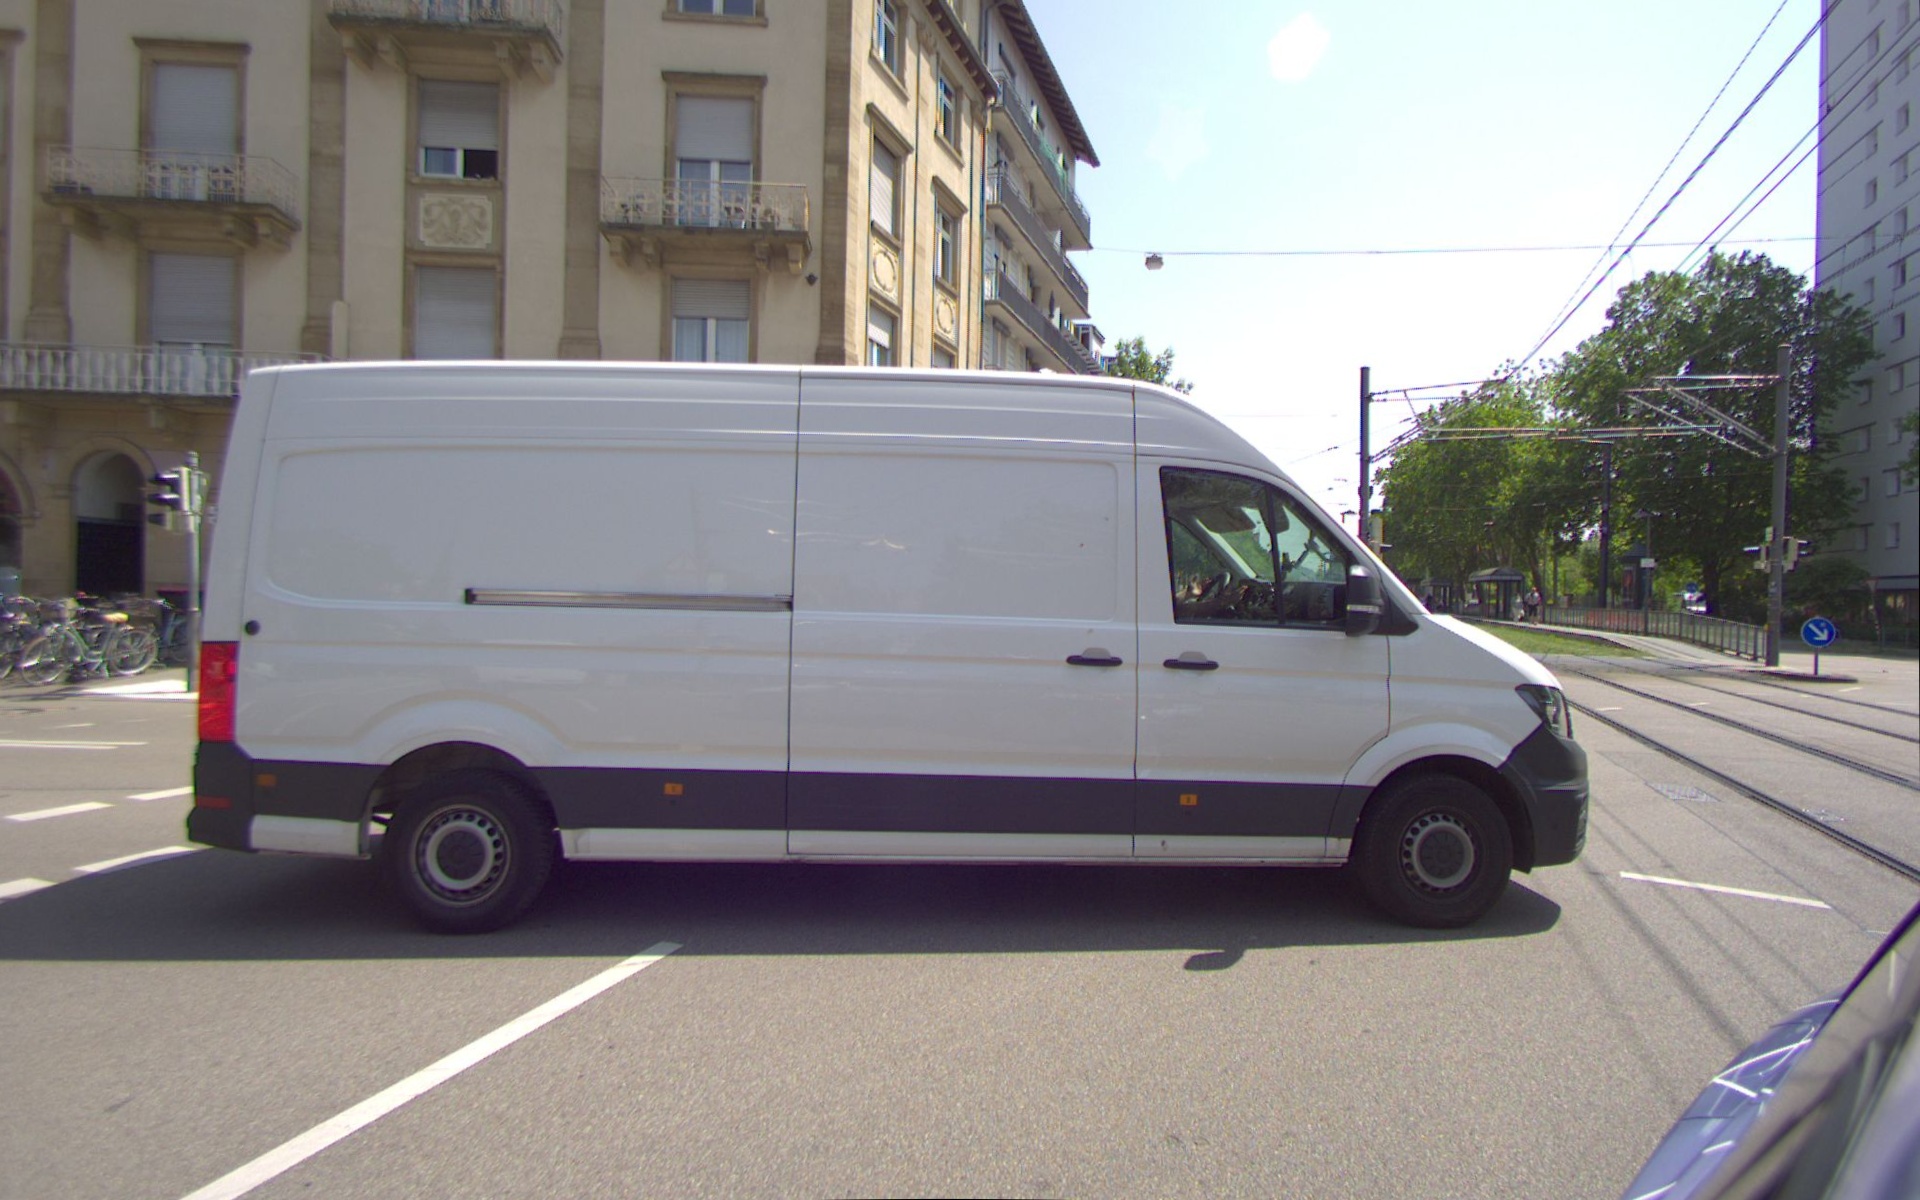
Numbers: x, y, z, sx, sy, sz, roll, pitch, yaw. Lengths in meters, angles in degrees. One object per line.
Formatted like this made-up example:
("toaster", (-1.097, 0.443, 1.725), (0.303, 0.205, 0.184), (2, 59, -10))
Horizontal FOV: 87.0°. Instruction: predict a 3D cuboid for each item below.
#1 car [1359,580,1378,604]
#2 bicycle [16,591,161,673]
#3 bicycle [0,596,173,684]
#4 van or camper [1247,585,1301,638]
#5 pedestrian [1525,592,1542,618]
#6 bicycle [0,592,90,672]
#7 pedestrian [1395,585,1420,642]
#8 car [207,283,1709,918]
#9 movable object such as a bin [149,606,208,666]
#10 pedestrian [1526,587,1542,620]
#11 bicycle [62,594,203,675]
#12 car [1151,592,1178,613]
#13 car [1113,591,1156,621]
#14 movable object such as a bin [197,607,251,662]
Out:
("car", (60.829, -1.203, 150.727), (2.248, 3.381, 11.954), (0, 1, 20))
("bicycle", (-13.757, 0.471, 16.052), (0.556, 1.165, 1.801), (0, 2, 9))
("bicycle", (-12.607, 0.532, 14.687), (0.556, 1.166, 2.055), (1, 1, 9))
("van or camper", (11.380, 0.381, 36.533), (1.744, 1.780, 4.566), (-1, 0, 19))
("pedestrian", (30.590, 0.265, 53.946), (0.670, 1.366, 0.628), (0, 0, 19))
("bicycle", (-14.650, 0.481, 15.707), (0.556, 1.165, 1.801), (0, 2, 9))
("pedestrian", (13.787, 0.404, 31.204), (0.672, 1.727, 0.549), (0, 0, 23))
("car", (0.037, 0.032, 5.442), (6.504, 2.670, 2.079), (1, 0, -3))
("movable object such as a bin", (-14.597, 0.665, 18.916), (0.579, 1.077, 0.670), (0, 0, 4))
("pedestrian", (28.571, 0.187, 50.396), (0.546, 1.626, 0.676), (0, 0, 19))
("bicycle", (-13.012, 0.510, 15.987), (0.556, 1.165, 1.801), (0, 2, 9))
("car", (14.892, 0.162, 73.692), (1.663, 1.460, 3.459), (1, 1, 15))
("car", (9.764, 0.313, 56.393), (1.972, 1.550, 3.980), (0, 1, 16))
("movable object such as a bin", (-13.795, 0.640, 18.976), (0.579, 1.007, 0.582), (0, 0, 4))
